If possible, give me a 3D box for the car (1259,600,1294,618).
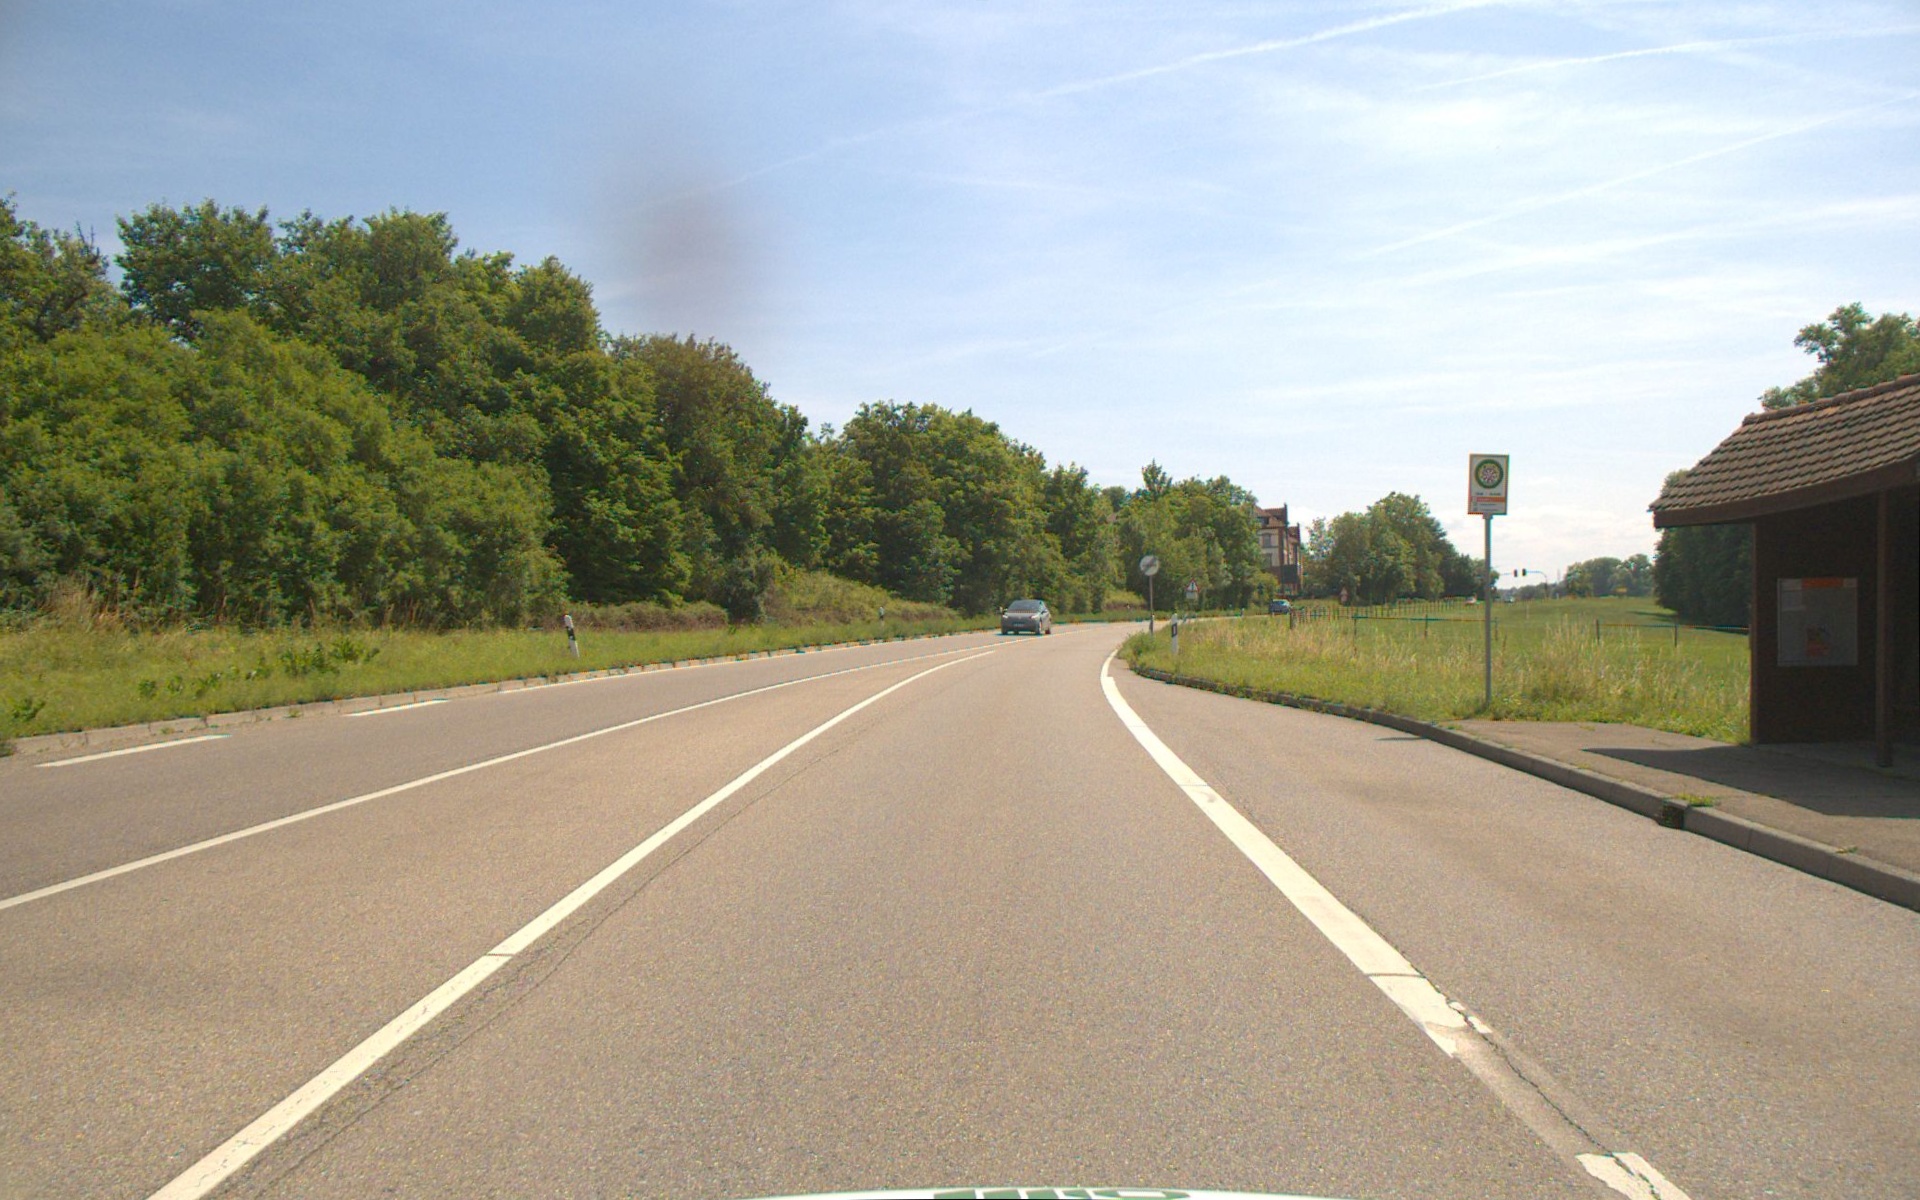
[{"bbox_3d":[28.884,0.833,150.748,1.956,1.601,3.993,0,0,29],"label":"car"}]

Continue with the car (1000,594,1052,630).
[{"bbox_3d":[3.017,0.533,74.594,1.717,1.561,4.232,1,0,11],"label":"car"}]
